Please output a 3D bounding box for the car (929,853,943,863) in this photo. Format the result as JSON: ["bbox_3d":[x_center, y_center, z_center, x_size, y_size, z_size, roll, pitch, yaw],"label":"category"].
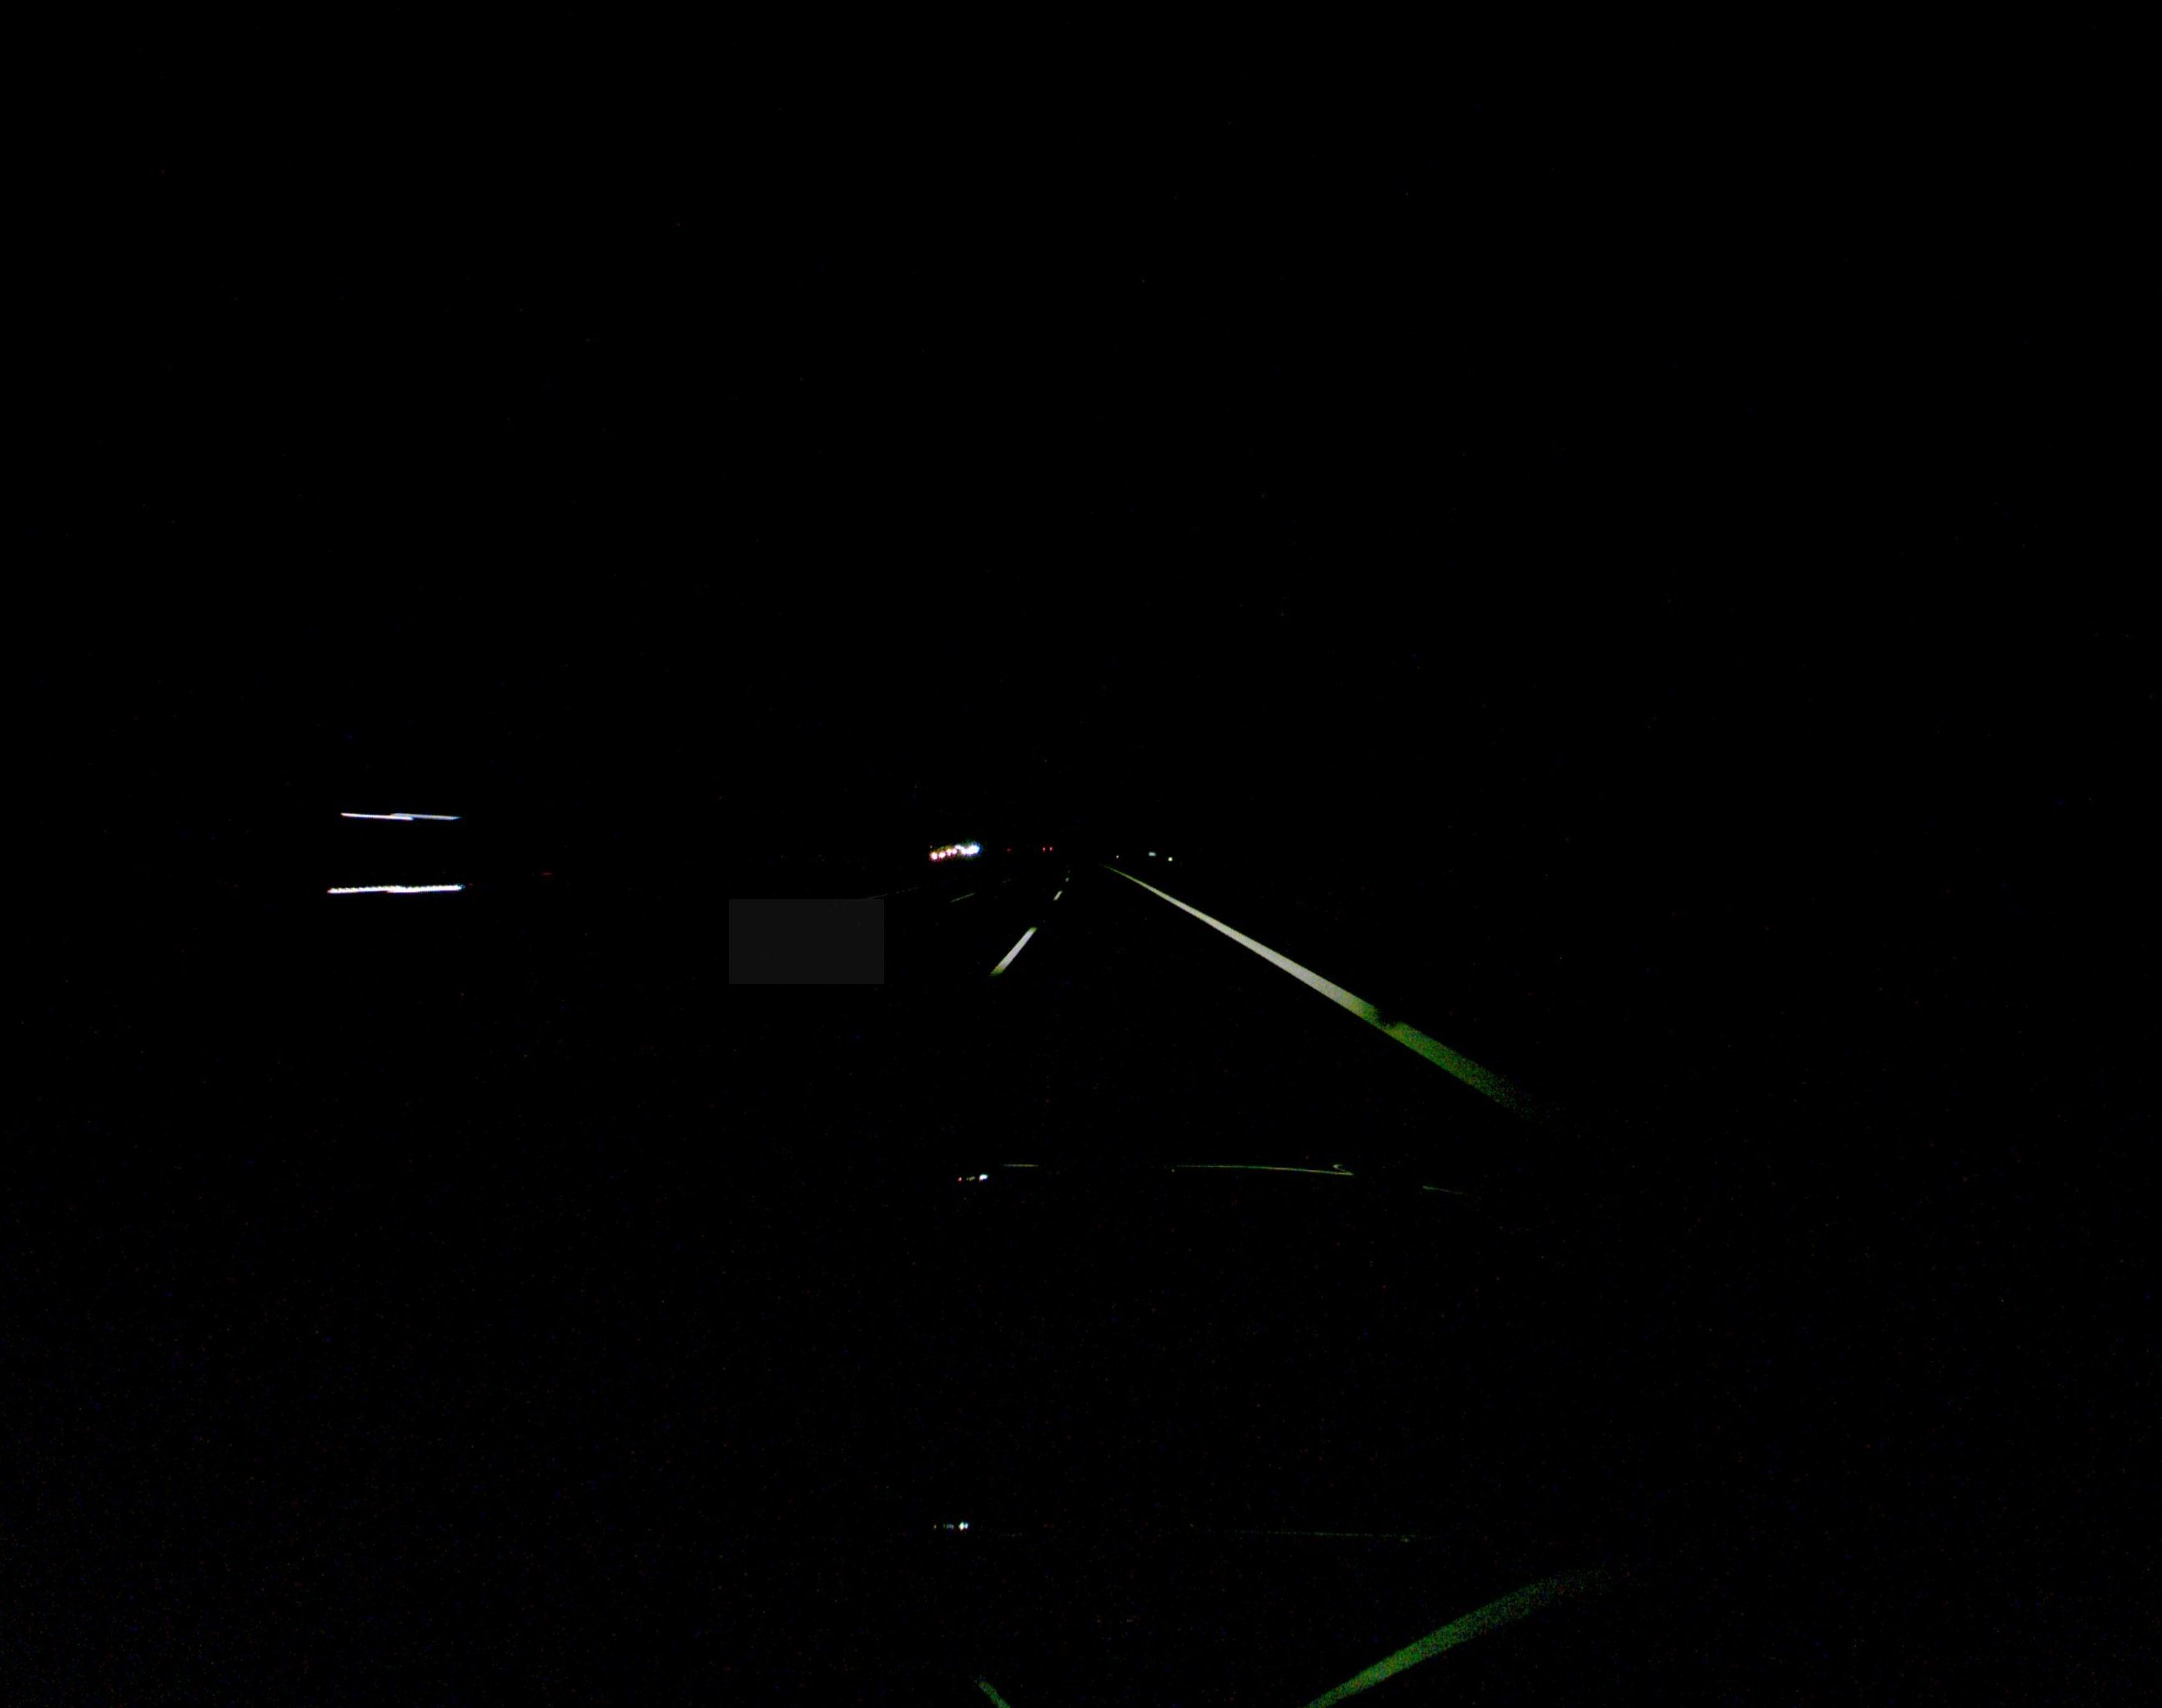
[{"bbox_3d":[-27.394,0.685,153.956,1.990,1.726,4.071,-1,1,-4],"label":"car"}]

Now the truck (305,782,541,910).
[{"bbox_3d":[-23.403,-0.254,29.518,3.578,4.099,5.993,-1,0,0],"label":"truck"}]

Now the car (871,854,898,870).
[{"bbox_3d":[-24.689,0.951,102.469,2.391,1.875,4.510,-1,0,-2],"label":"car"}]

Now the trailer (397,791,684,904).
[{"bbox_3d":[-23.353,-0.254,37.077,3.587,4.090,14.122,-1,0,0],"label":"trailer"}]

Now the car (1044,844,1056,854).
[{"bbox_3d":[-8.016,-1.342,207.500,2.525,2.553,6.037,1,0,-7],"label":"car"}]
